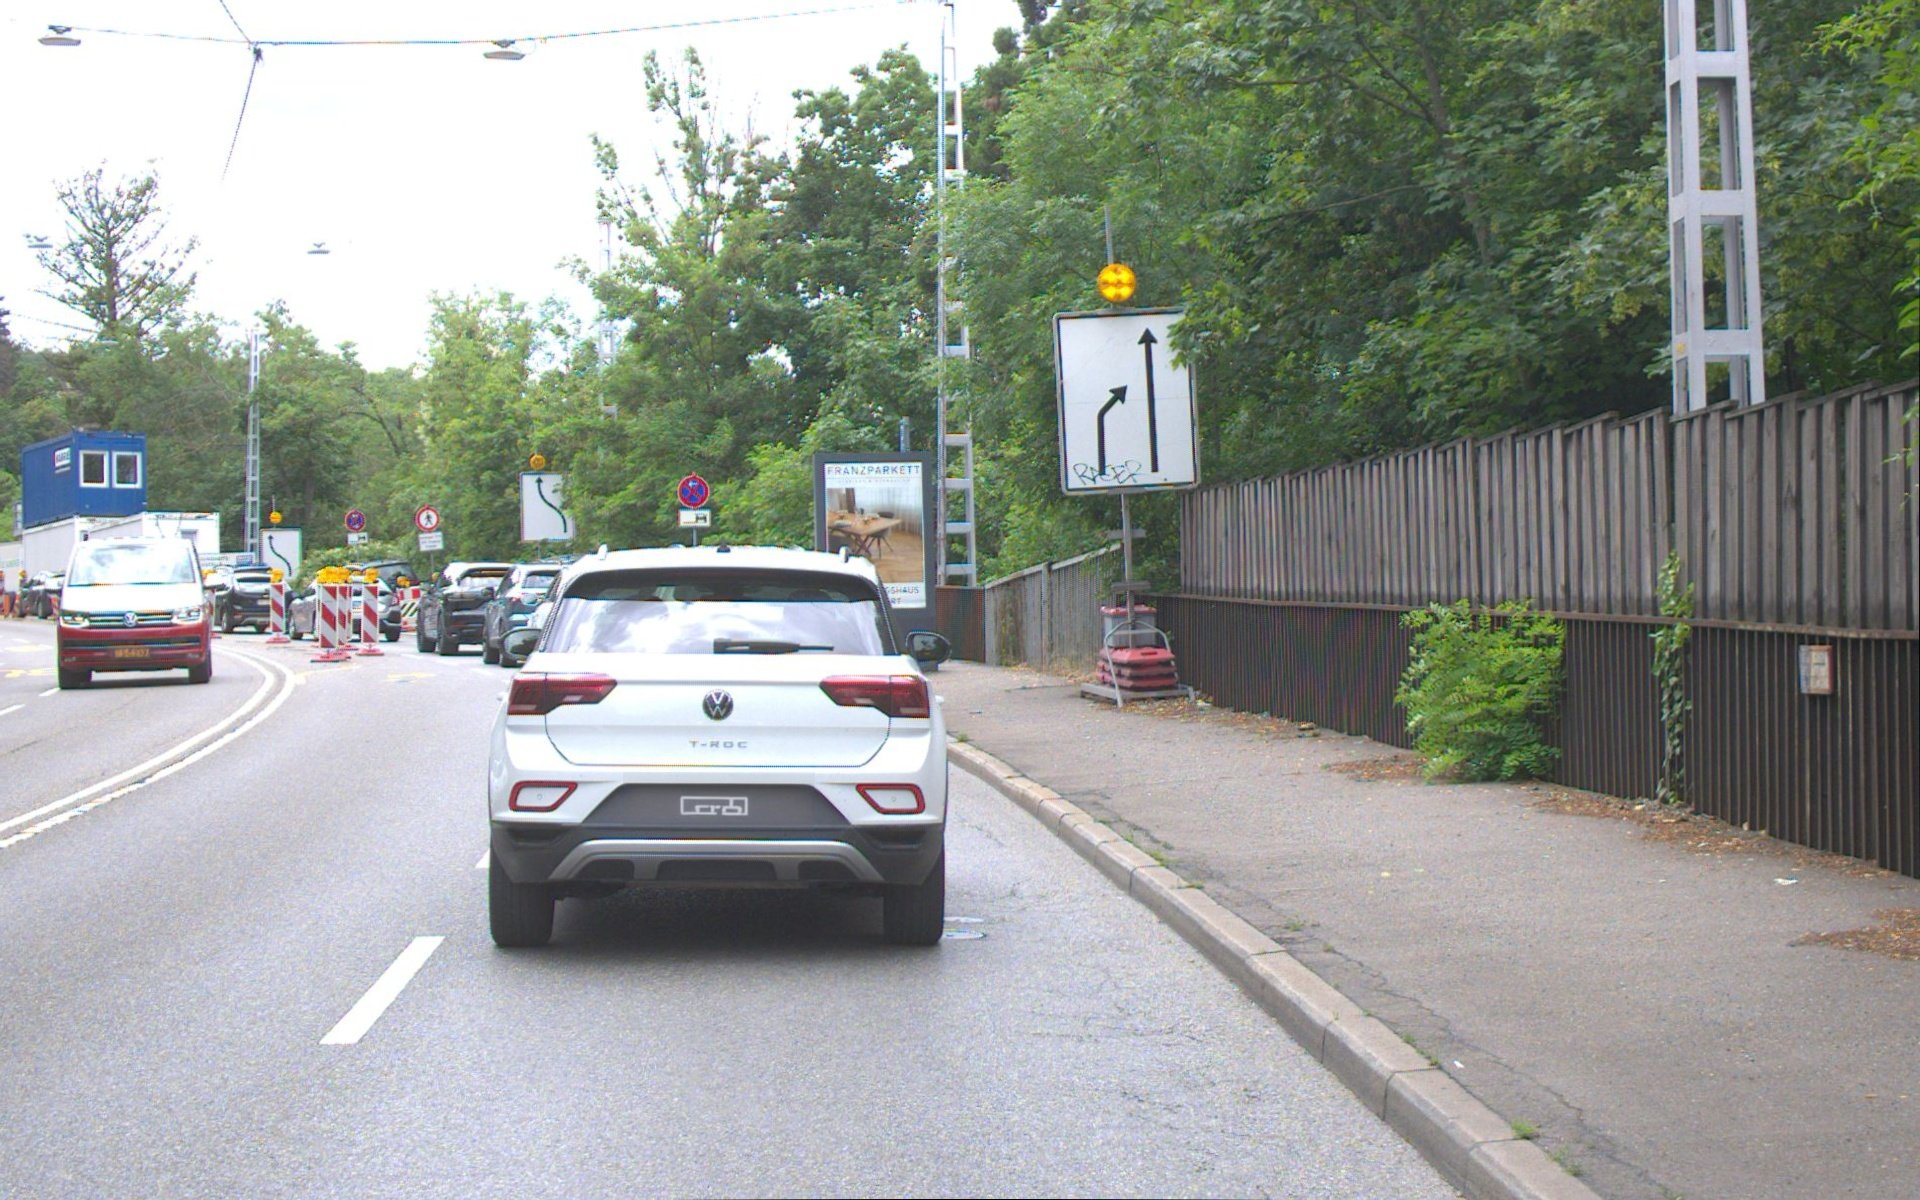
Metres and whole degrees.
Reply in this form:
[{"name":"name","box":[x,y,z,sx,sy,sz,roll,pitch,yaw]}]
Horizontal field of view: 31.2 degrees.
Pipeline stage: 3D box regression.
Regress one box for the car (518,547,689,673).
[{"name":"car","box":[-4.410,0.105,42.118,1.757,1.466,3.796,0,0,-11]}]

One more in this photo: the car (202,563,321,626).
[{"name":"car","box":[-17.190,-0.120,84.521,1.993,1.445,4.151,-2,0,-24]}]

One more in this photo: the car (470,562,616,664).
[{"name":"car","box":[-6.284,0.199,52.175,1.993,1.409,4.151,-2,0,-5]}]

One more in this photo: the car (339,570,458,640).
[{"name":"car","box":[-12.332,0.121,75.348,1.993,1.445,4.151,-2,0,-17]}]

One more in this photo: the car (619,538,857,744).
[{"name":"car","box":[-1.929,0.306,28.894,1.757,1.604,3.796,0,0,-7]}]

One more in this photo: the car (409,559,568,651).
[{"name":"car","box":[-8.508,0.065,61.778,1.993,1.551,4.152,-1,1,-20]}]

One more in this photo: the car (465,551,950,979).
[{"name":"car","box":[-1.030,0.584,14.430,1.757,1.550,3.796,0,0,-3]}]

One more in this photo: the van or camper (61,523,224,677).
[{"name":"van or camper","box":[-10.813,-0.014,45.731,1.889,1.872,4.766,-2,1,-11]}]

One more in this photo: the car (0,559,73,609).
[{"name":"car","box":[-27.684,-0.476,102.922,1.780,1.449,4.001,-1,0,-20]}]
